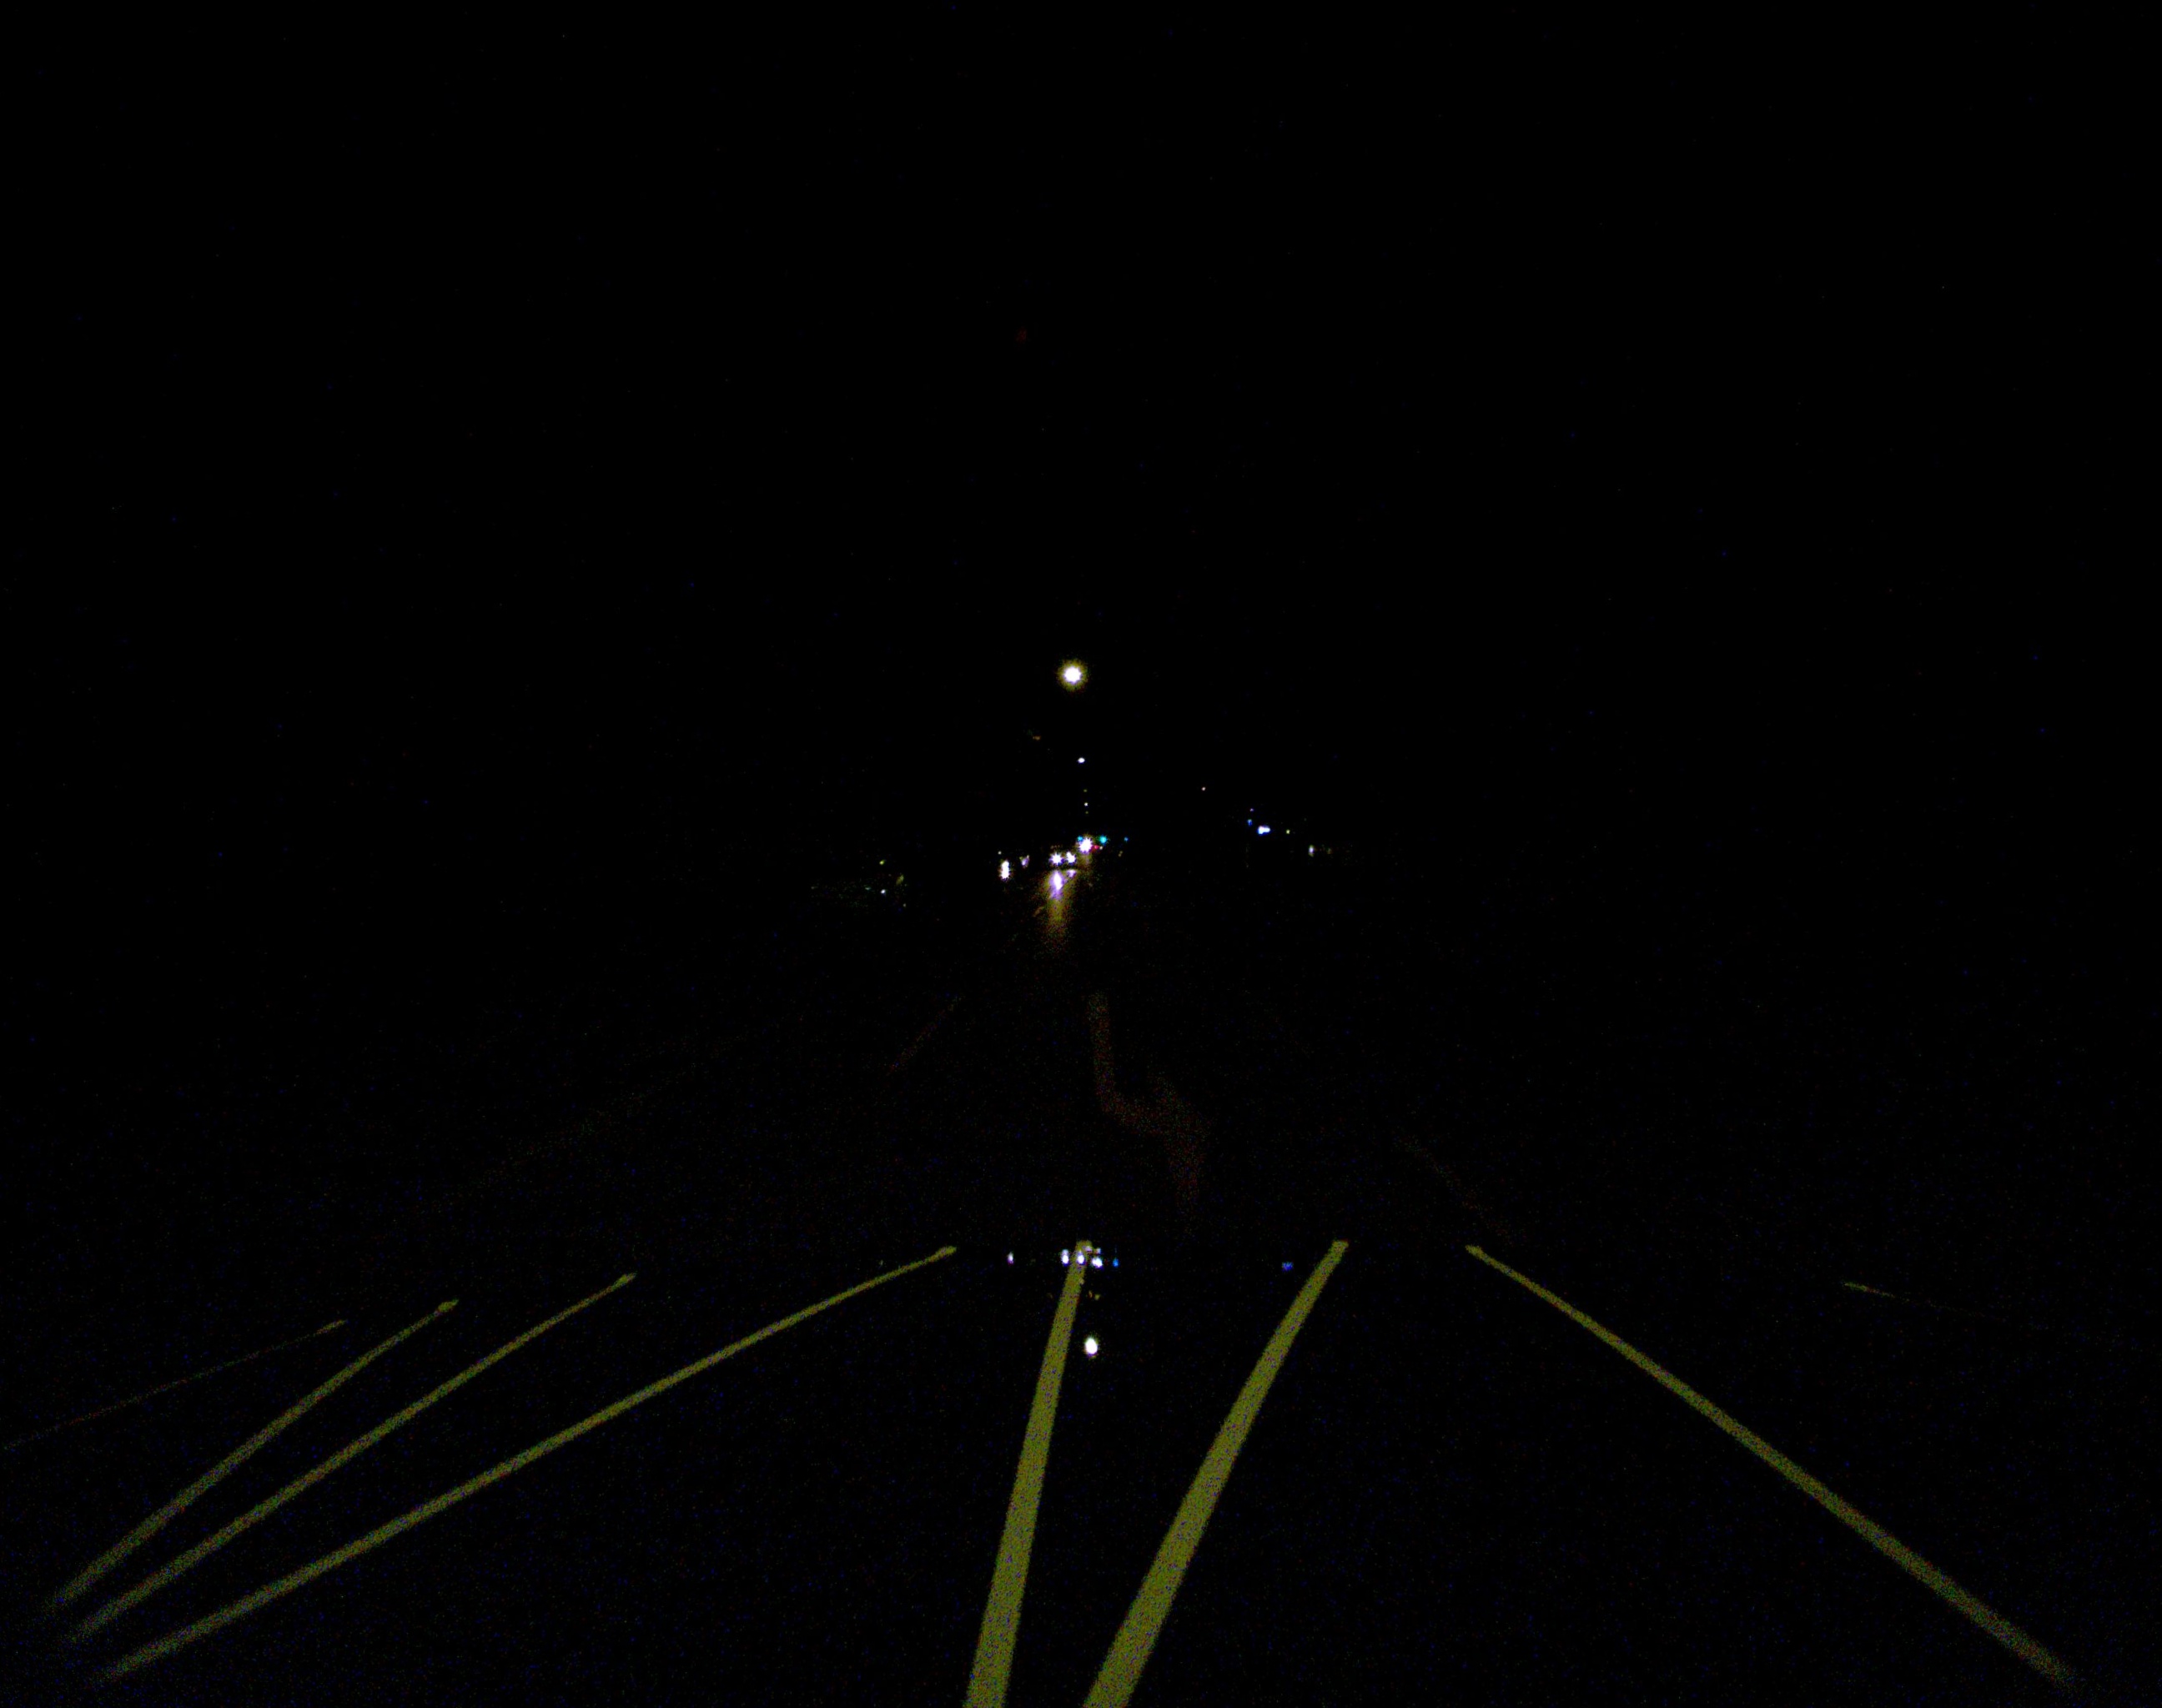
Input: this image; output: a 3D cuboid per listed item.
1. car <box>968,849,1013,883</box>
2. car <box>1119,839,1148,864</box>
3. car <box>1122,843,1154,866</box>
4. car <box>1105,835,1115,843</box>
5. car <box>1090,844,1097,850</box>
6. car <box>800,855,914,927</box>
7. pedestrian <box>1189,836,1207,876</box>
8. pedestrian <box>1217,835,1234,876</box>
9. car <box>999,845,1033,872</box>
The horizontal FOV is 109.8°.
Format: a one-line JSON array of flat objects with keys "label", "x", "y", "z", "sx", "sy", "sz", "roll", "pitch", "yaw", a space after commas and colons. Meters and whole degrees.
[{"label": "car", "x": -4.324, "y": 0.522, "z": 36.844, "sx": 1.742, "sy": 1.489, "sz": 3.889, "roll": -1, "pitch": 1, "yaw": -1}, {"label": "car", "x": 4.087, "y": -0.223, "z": 59.990, "sx": 1.998, "sy": 1.773, "sz": 3.999, "roll": -2, "pitch": 1, "yaw": 1}, {"label": "car", "x": 4.092, "y": -0.026, "z": 54.946, "sx": 1.998, "sy": 1.477, "sz": 3.999, "roll": -3, "pitch": 1, "yaw": 1}, {"label": "car", "x": 5.978, "y": -3.186, "z": 156.980, "sx": 1.903, "sy": 1.581, "sz": 3.660, "roll": -2, "pitch": 1, "yaw": 2}, {"label": "car", "x": 3.144, "y": -1.790, "z": 189.411, "sx": 1.754, "sy": 1.433, "sz": 3.487, "roll": -2, "pitch": -2, "yaw": 1}, {"label": "car", "x": -5.185, "y": 0.804, "z": 18.006, "sx": 1.611, "sy": 1.500, "sz": 3.486, "roll": 0, "pitch": 1, "yaw": 1}, {"label": "pedestrian", "x": 5.180, "y": 0.089, "z": 33.765, "sx": 0.673, "sy": 1.750, "sz": 0.500, "roll": -2, "pitch": 2, "yaw": 1}, {"label": "pedestrian", "x": 6.225, "y": 0.070, "z": 32.775, "sx": 0.565, "sy": 1.750, "sz": 0.500, "roll": -2, "pitch": 2, "yaw": 1}, {"label": "car", "x": -4.272, "y": 0.253, "z": 50.374, "sx": 1.852, "sy": 1.643, "sz": 4.178, "roll": -2, "pitch": 1, "yaw": 0}]
